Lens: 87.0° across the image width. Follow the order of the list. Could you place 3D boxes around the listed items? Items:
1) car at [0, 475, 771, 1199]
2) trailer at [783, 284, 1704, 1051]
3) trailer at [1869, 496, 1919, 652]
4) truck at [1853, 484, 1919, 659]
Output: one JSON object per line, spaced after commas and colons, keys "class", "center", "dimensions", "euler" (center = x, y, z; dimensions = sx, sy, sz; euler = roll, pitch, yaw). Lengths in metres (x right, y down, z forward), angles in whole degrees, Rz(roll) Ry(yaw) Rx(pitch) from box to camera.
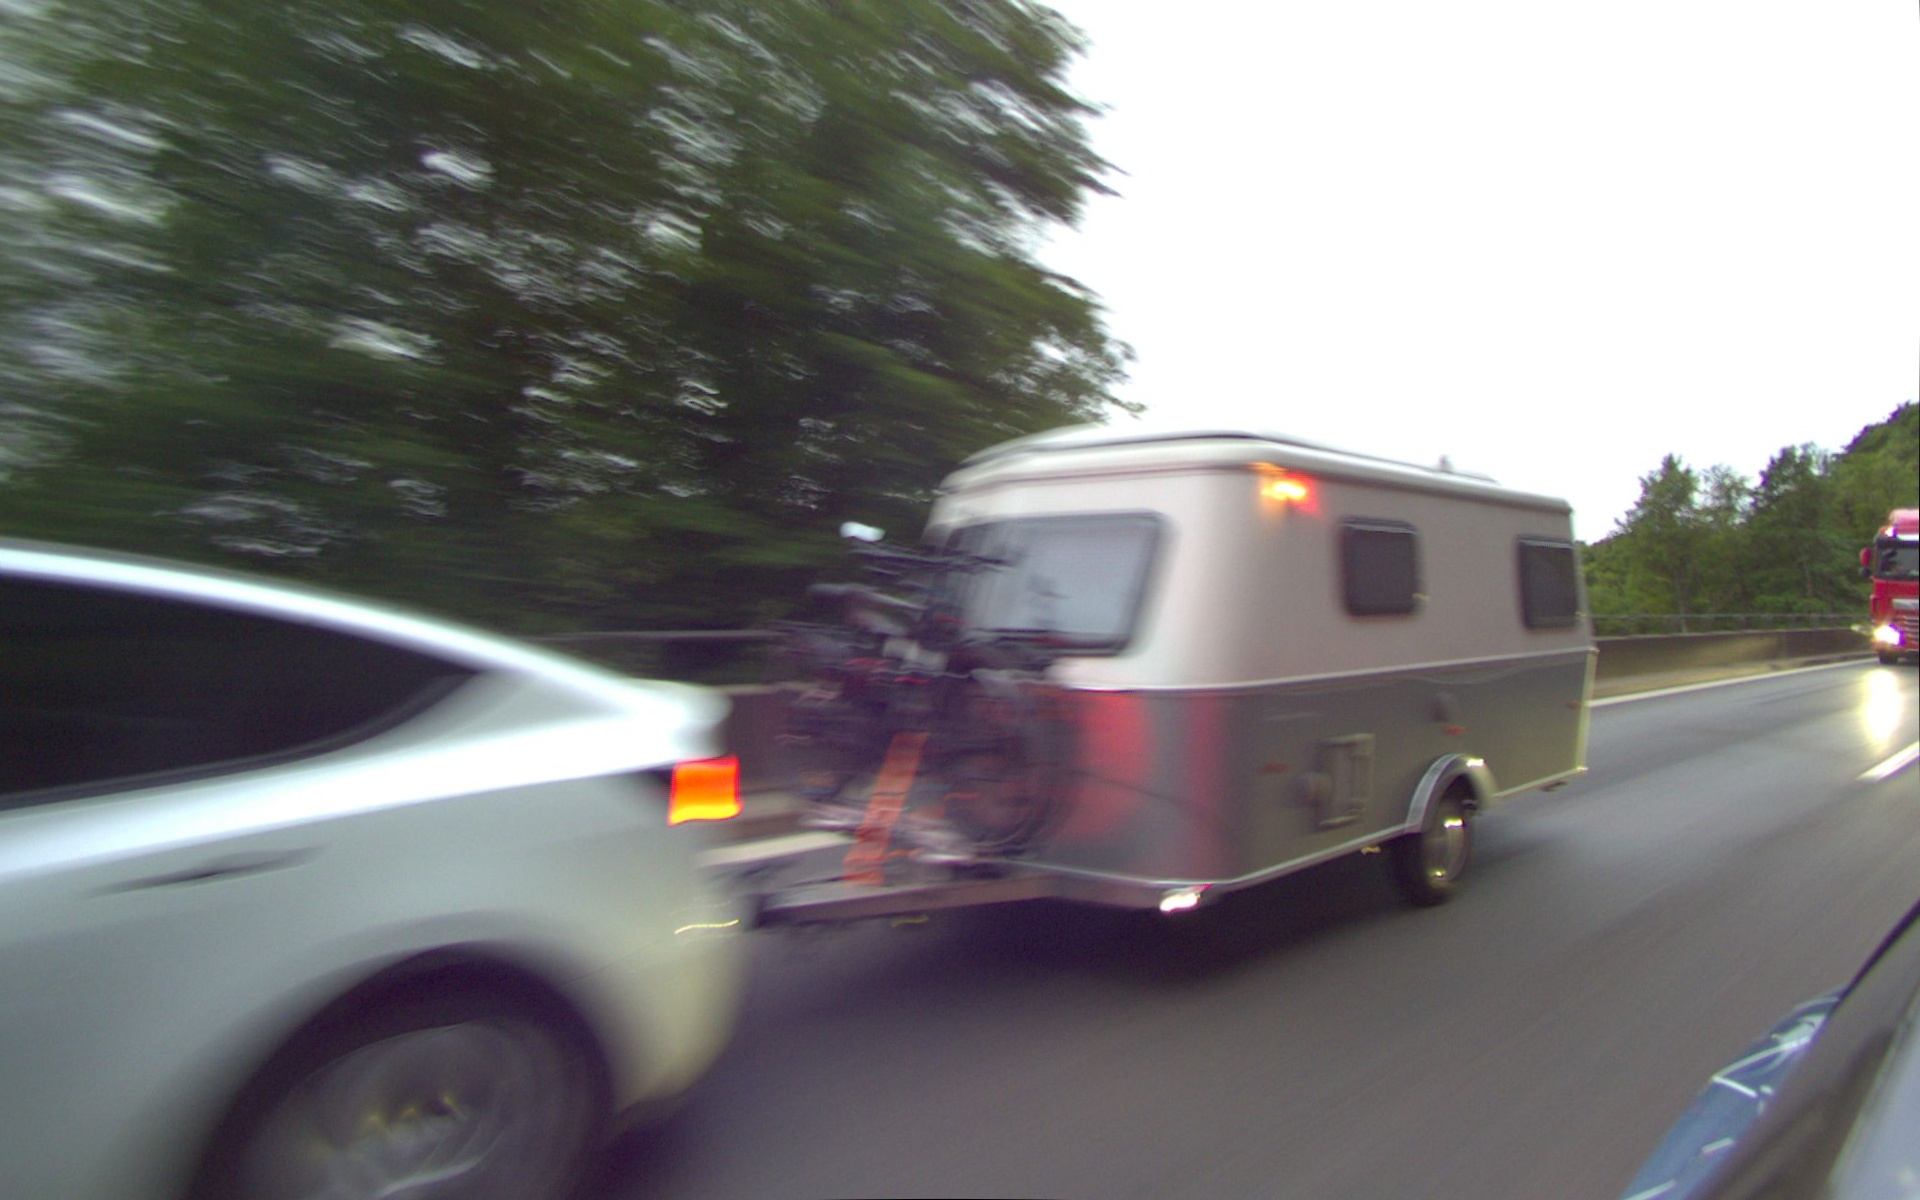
{"class": "car", "center": [-2.893, 0.612, 1.768], "dimensions": [1.994, 1.635, 4.786], "euler": [0, 0, 45]}
{"class": "trailer", "center": [2.070, 0.235, 5.811], "dimensions": [5.829, 2.405, 2.059], "euler": [0, -2, -38]}
{"class": "trailer", "center": [30.584, -0.565, 29.946], "dimensions": [13.956, 4.020, 3.105], "euler": [1, 0, -38]}
{"class": "truck", "center": [25.731, -0.689, 26.070], "dimensions": [6.331, 4.198, 3.075], "euler": [0, -1, -40]}
